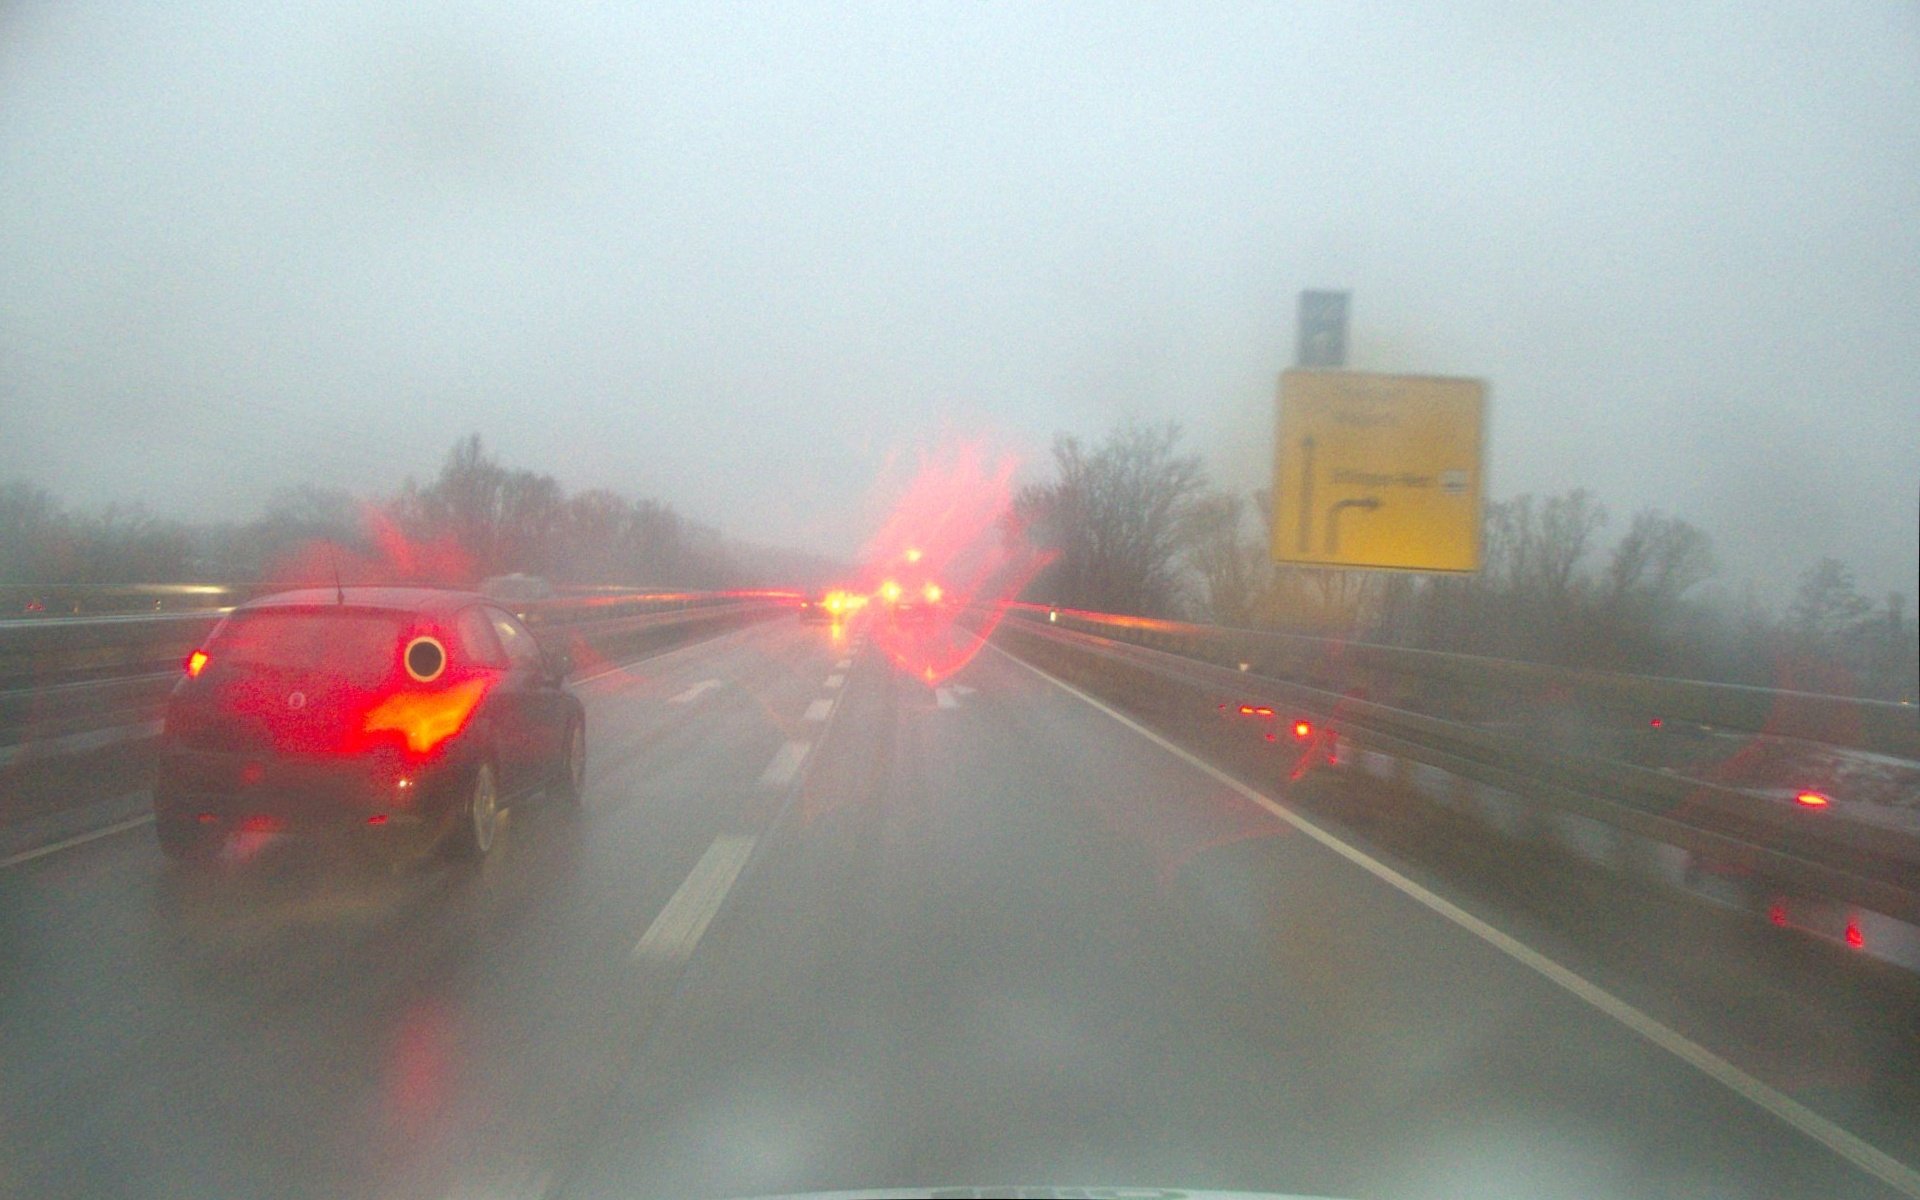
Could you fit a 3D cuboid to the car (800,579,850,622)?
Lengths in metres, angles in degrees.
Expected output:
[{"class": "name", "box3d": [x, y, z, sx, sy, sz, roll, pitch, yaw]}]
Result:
[{"class": "car", "box3d": [-5.369, 0.038, 66.169, 1.798, 1.564, 3.997, 2, -2, -2]}]

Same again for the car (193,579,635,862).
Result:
[{"class": "car", "box3d": [-3.217, 0.600, 10.562, 1.593, 1.416, 3.999, 1, 1, -2]}]

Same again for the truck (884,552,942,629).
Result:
[{"class": "truck", "box3d": [-2.025, -0.345, 70.575, 2.335, 2.960, 4.671, 1, -3, -2]}]

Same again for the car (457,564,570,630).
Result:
[{"class": "car", "box3d": [-10.860, -0.111, 40.518, 1.645, 1.430, 4.506, 2, 2, -2]}]

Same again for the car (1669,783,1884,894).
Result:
[{"class": "car", "box3d": [14.505, 4.208, 29.635, 1.643, 1.303, 3.998, 7, -1, -2]}]
